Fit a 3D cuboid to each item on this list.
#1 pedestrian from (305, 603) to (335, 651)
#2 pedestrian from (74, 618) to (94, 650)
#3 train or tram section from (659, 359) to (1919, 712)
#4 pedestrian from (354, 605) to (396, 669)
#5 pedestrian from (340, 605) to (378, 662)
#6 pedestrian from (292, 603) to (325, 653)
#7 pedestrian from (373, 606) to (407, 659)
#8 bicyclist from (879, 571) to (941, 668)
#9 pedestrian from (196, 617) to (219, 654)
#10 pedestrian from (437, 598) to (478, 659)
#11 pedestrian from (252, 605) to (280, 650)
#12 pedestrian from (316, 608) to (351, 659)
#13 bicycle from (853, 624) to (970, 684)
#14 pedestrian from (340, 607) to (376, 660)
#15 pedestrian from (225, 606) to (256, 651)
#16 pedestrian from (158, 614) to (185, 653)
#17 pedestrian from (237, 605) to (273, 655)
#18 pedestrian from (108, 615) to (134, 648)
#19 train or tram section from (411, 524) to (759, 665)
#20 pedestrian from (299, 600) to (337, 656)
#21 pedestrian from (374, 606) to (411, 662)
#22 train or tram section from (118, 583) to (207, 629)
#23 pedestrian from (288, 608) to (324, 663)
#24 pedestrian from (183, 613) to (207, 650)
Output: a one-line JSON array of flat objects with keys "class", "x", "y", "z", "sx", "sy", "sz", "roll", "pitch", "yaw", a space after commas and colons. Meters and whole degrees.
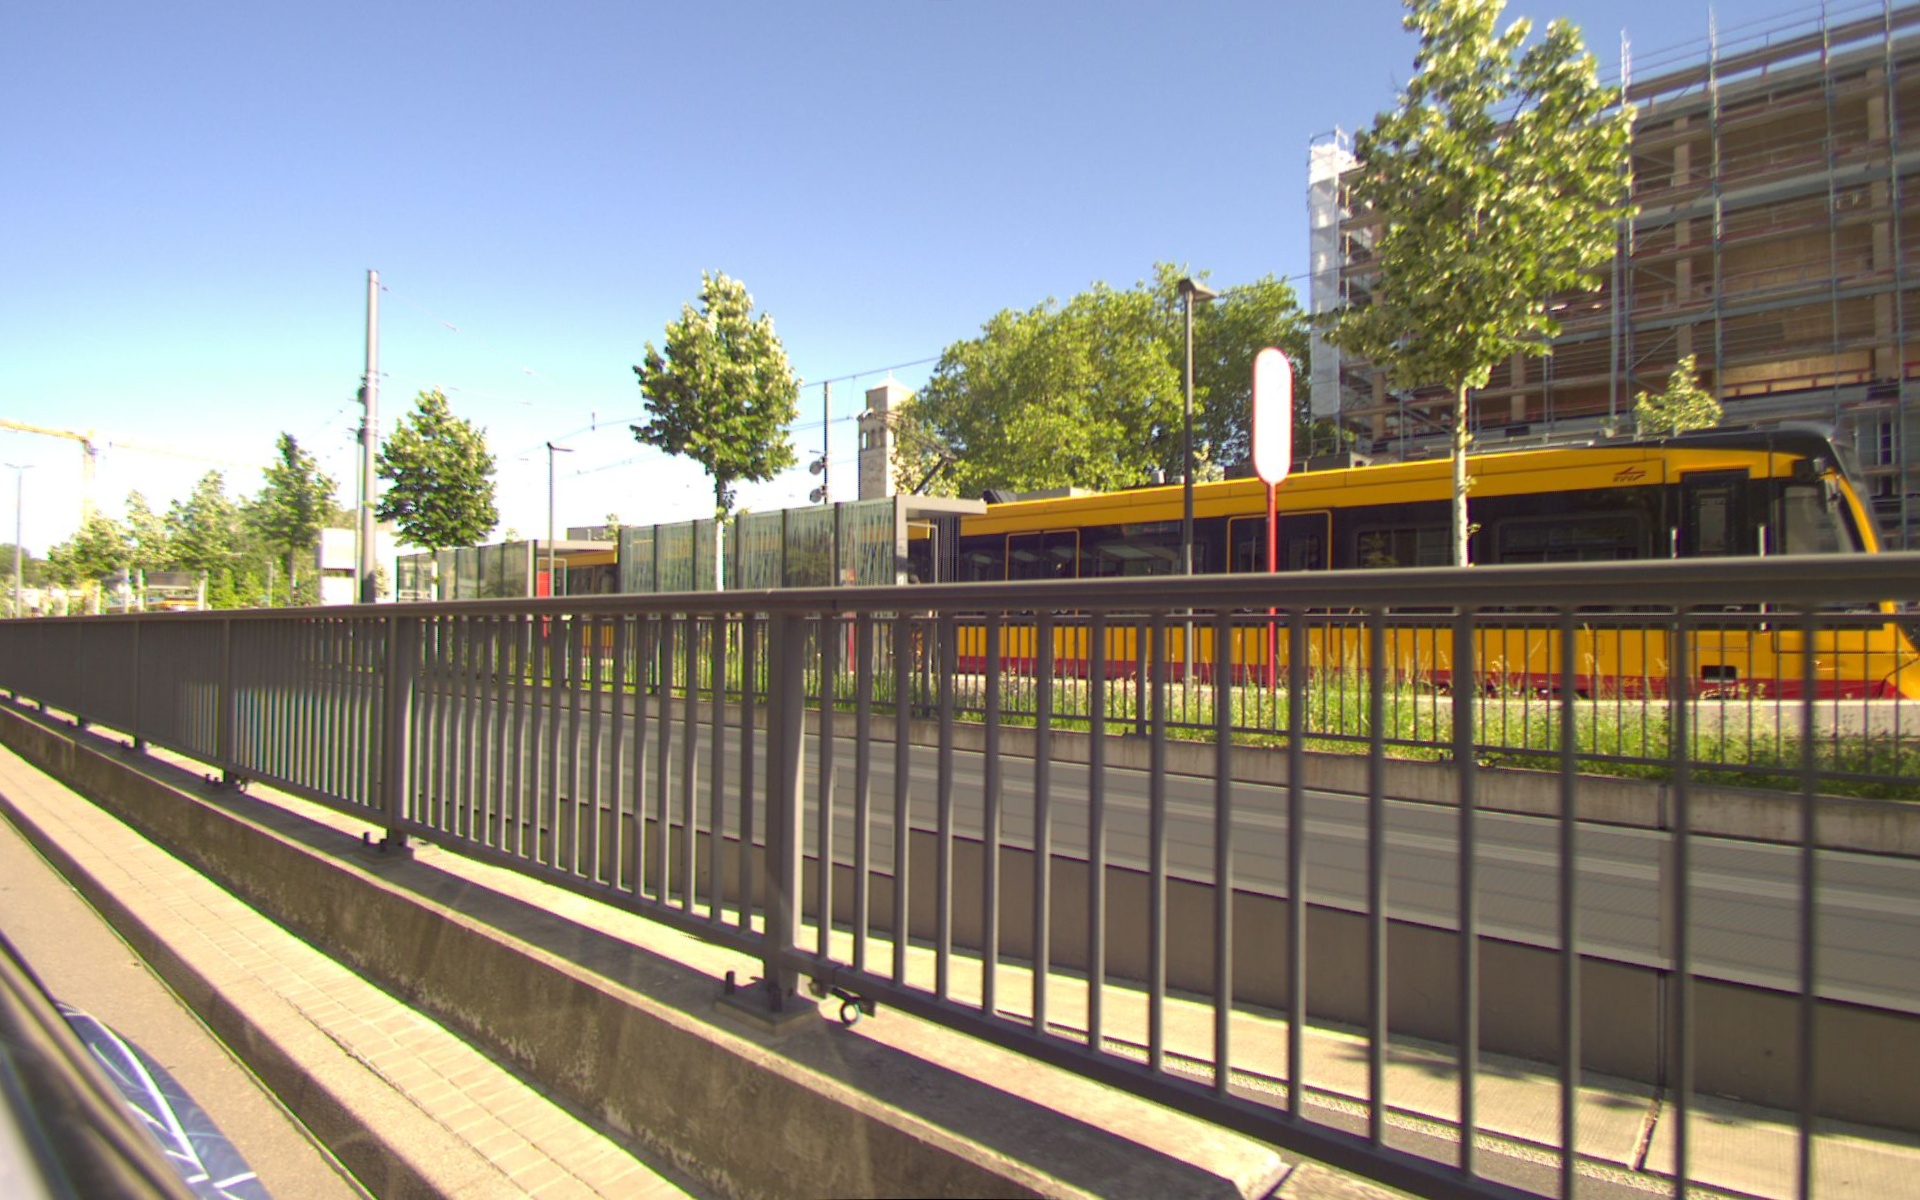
[{"class": "pedestrian", "x": -23.436, "y": 0.985, "z": 37.070, "sx": 0.861, "sy": 1.707, "sz": 0.733, "roll": -2, "pitch": -2, "yaw": 43}, {"class": "pedestrian", "x": -49.314, "y": 1.912, "z": 56.956, "sx": 0.958, "sy": 1.788, "sz": 0.696, "roll": -3, "pitch": -1, "yaw": 39}, {"class": "train or tram section", "x": 2.118, "y": -0.385, "z": 17.546, "sx": 22.135, "sy": 3.304, "sz": 2.840, "roll": -2, "pitch": 0, "yaw": 42}, {"class": "pedestrian", "x": -15.312, "y": 0.960, "z": 26.489, "sx": 0.861, "sy": 1.641, "sz": 0.733, "roll": -2, "pitch": -2, "yaw": 43}, {"class": "pedestrian", "x": -17.703, "y": 0.976, "z": 29.822, "sx": 0.861, "sy": 1.641, "sz": 0.733, "roll": -2, "pitch": -2, "yaw": 43}, {"class": "pedestrian", "x": -21.816, "y": 0.948, "z": 33.877, "sx": 0.861, "sy": 1.641, "sz": 0.733, "roll": -2, "pitch": -2, "yaw": 43}, {"class": "pedestrian", "x": -18.197, "y": 1.035, "z": 32.309, "sx": 0.861, "sy": 1.641, "sz": 0.733, "roll": -2, "pitch": -2, "yaw": 43}, {"class": "bicyclist", "x": -0.802, "y": 0.315, "z": 16.134, "sx": 0.853, "sy": 1.502, "sz": 0.532, "roll": -2, "pitch": -2, "yaw": 42}, {"class": "pedestrian", "x": -32.137, "y": 1.521, "z": 43.221, "sx": 0.588, "sy": 1.524, "sz": 0.641, "roll": -3, "pitch": -1, "yaw": 39}, {"class": "pedestrian", "x": -13.794, "y": 0.778, "z": 27.783, "sx": 0.861, "sy": 1.641, "sz": 0.733, "roll": -2, "pitch": -2, "yaw": 43}, {"class": "pedestrian", "x": -28.652, "y": 1.151, "z": 41.777, "sx": 1.074, "sy": 1.824, "sz": 0.664, "roll": -2, "pitch": -2, "yaw": 41}, {"class": "pedestrian", "x": -20.432, "y": 1.077, "z": 32.983, "sx": 0.947, "sy": 1.641, "sz": 0.733, "roll": -2, "pitch": -2, "yaw": 43}, {"class": "bicycle", "x": -0.800, "y": 0.836, "z": 16.124, "sx": 2.087, "sy": 0.892, "sz": 0.532, "roll": -2, "pitch": -2, "yaw": 42}, {"class": "pedestrian", "x": -18.736, "y": 1.040, "z": 31.518, "sx": 0.861, "sy": 1.641, "sz": 0.733, "roll": -2, "pitch": -2, "yaw": 43}, {"class": "pedestrian", "x": -29.310, "y": 1.156, "z": 41.234, "sx": 1.030, "sy": 1.824, "sz": 0.761, "roll": -2, "pitch": -2, "yaw": 41}, {"class": "pedestrian", "x": -37.084, "y": 1.592, "z": 47.568, "sx": 0.978, "sy": 1.788, "sz": 0.783, "roll": -3, "pitch": -1, "yaw": 39}, {"class": "pedestrian", "x": -26.595, "y": 1.118, "z": 38.171, "sx": 1.007, "sy": 1.865, "sz": 0.877, "roll": -2, "pitch": -2, "yaw": 42}, {"class": "pedestrian", "x": -46.497, "y": 1.741, "z": 56.076, "sx": 1.188, "sy": 1.788, "sz": 0.865, "roll": -3, "pitch": -1, "yaw": 39}, {"class": "train or tram section", "x": -11.768, "y": 0.019, "z": 29.910, "sx": 15.179, "sy": 3.304, "sz": 2.840, "roll": -2, "pitch": 0, "yaw": 42}, {"class": "pedestrian", "x": -19.199, "y": 0.843, "z": 30.259, "sx": 0.861, "sy": 1.641, "sz": 0.733, "roll": -2, "pitch": -2, "yaw": 43}, {"class": "pedestrian", "x": -17.134, "y": 1.022, "z": 30.531, "sx": 0.861, "sy": 1.641, "sz": 0.733, "roll": -2, "pitch": -2, "yaw": 43}, {"class": "train or tram section", "x": -63.816, "y": 0.543, "z": 80.764, "sx": 15.960, "sy": 3.346, "sz": 2.818, "roll": -2, "pitch": 0, "yaw": 42}, {"class": "pedestrian", "x": -20.094, "y": 1.080, "z": 31.090, "sx": 0.861, "sy": 1.641, "sz": 0.733, "roll": -2, "pitch": -2, "yaw": 43}, {"class": "pedestrian", "x": -37.727, "y": 1.547, "z": 49.904, "sx": 0.825, "sy": 1.788, "sz": 0.754, "roll": -3, "pitch": -1, "yaw": 38}]
